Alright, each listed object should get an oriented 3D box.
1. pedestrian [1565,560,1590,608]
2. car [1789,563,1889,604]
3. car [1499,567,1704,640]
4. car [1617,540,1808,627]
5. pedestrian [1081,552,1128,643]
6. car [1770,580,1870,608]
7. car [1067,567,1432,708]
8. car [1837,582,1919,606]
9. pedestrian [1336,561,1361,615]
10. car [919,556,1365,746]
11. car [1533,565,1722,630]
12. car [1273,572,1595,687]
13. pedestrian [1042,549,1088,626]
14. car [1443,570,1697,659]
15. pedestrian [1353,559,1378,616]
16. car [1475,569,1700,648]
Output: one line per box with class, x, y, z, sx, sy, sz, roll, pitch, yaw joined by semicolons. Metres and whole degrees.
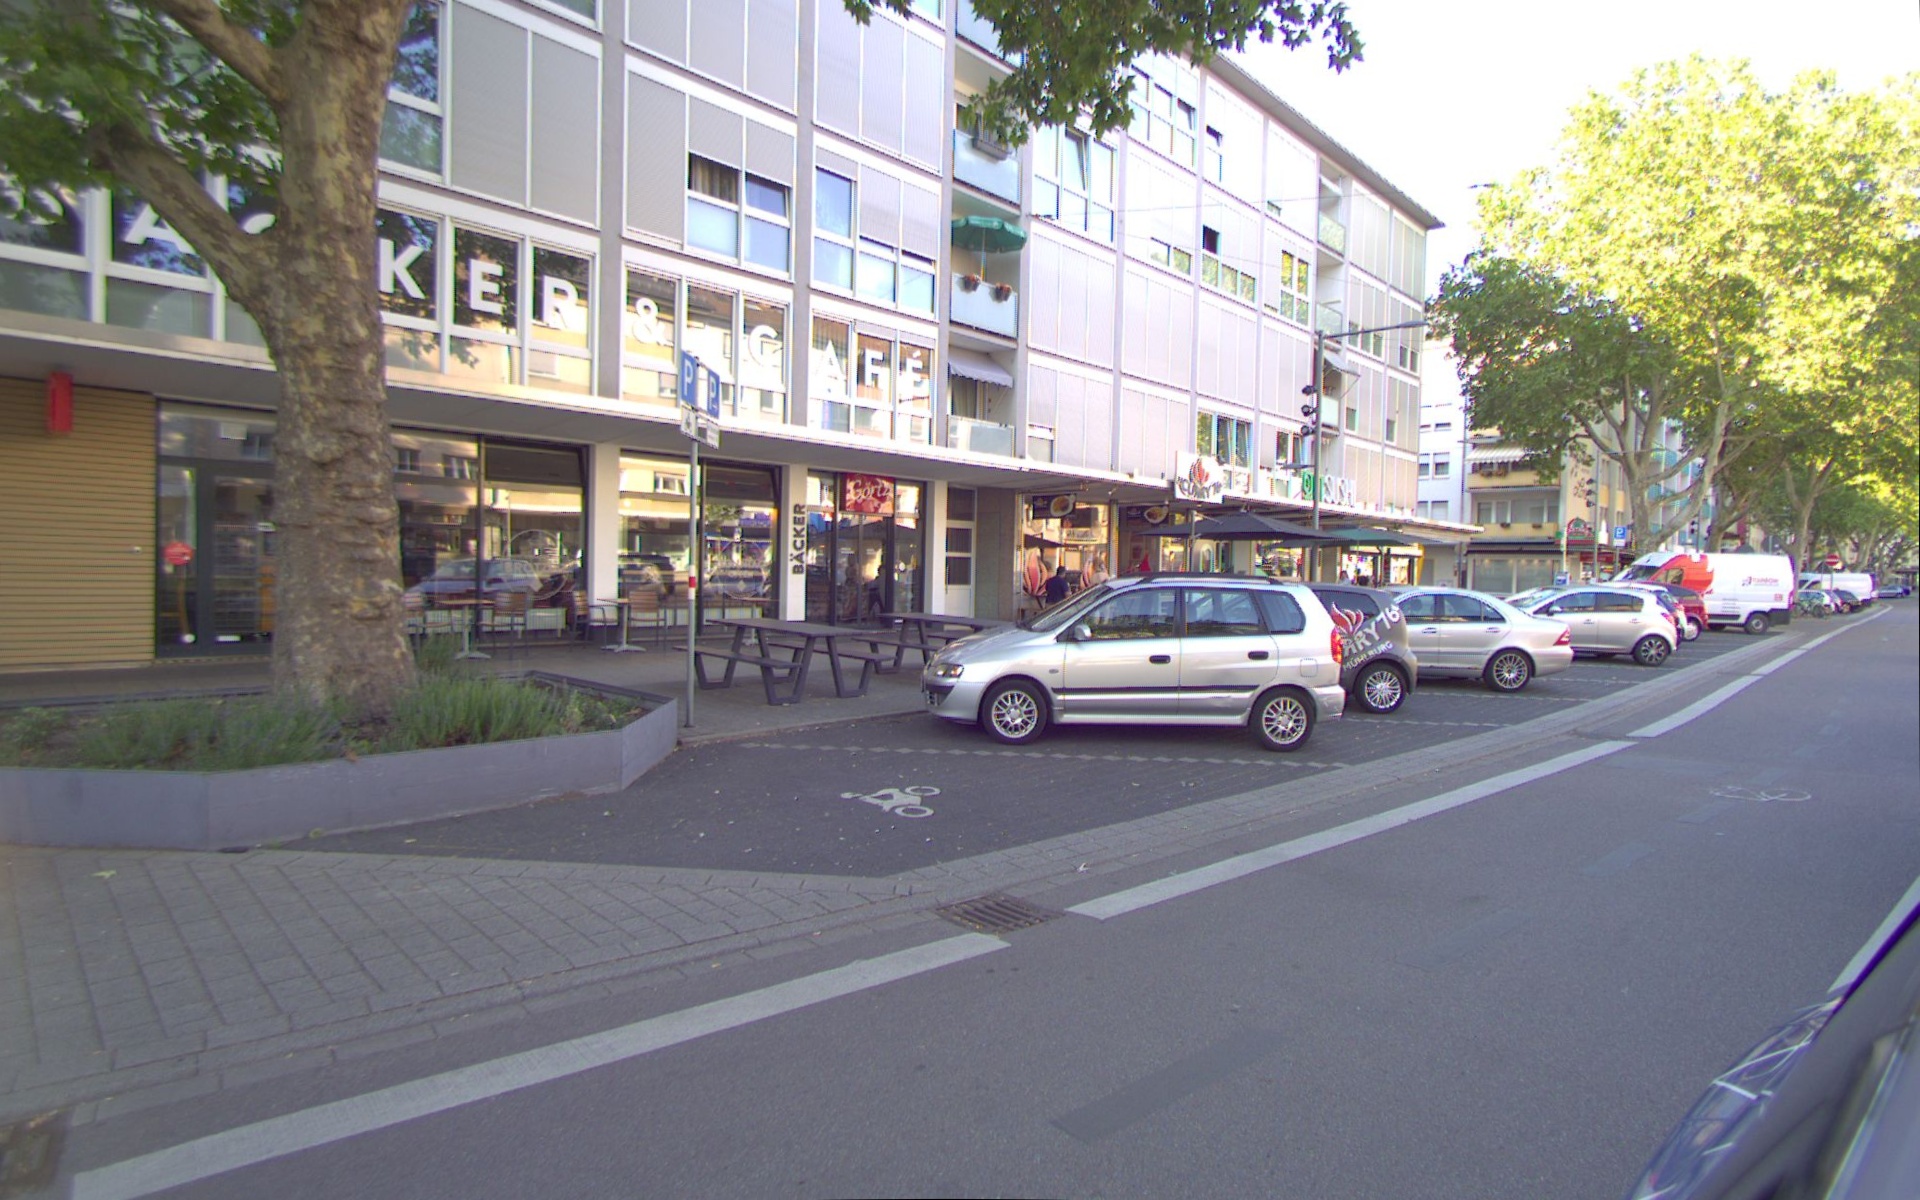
pedestrian;26.633;-0.679;43.648;0.746;2.038;0.752;2;2;45
car;56.536;-1.083;65.137;4.512;2.499;1.977;1;2;3
car;15.893;0.034;25.297;3.888;1.445;1.669;4;5;17
car;23.725;-0.541;32.037;4.514;2.525;1.675;2;1;5
pedestrian;2.617;-0.058;18.356;0.559;1.596;0.632;2;2;44
car;48.051;-0.359;56.602;3.864;1.422;1.782;1;2;3
car;3.378;0.404;12.299;3.864;1.446;1.679;2;3;-3
car;56.226;-0.392;61.659;3.864;1.350;1.782;1;2;3
pedestrian;12.114;-0.385;31.567;0.536;1.660;0.470;2;2;45
car;1.598;0.428;9.821;3.906;1.560;1.679;2;3;-3
car;18.099;-0.119;27.637;3.890;1.445;1.668;4;5;19
car;6.802;0.385;14.800;3.867;1.418;1.598;2;3;1
pedestrian;2.229;-0.267;21.407;0.757;1.602;0.583;0;2;-39
car;11.811;0.248;19.809;3.871;1.446;1.559;3;3;4
pedestrian;12.502;-0.397;31.178;0.544;1.741;0.450;2;2;45
car;13.980;0.145;22.803;3.886;1.446;1.670;3;3;16
